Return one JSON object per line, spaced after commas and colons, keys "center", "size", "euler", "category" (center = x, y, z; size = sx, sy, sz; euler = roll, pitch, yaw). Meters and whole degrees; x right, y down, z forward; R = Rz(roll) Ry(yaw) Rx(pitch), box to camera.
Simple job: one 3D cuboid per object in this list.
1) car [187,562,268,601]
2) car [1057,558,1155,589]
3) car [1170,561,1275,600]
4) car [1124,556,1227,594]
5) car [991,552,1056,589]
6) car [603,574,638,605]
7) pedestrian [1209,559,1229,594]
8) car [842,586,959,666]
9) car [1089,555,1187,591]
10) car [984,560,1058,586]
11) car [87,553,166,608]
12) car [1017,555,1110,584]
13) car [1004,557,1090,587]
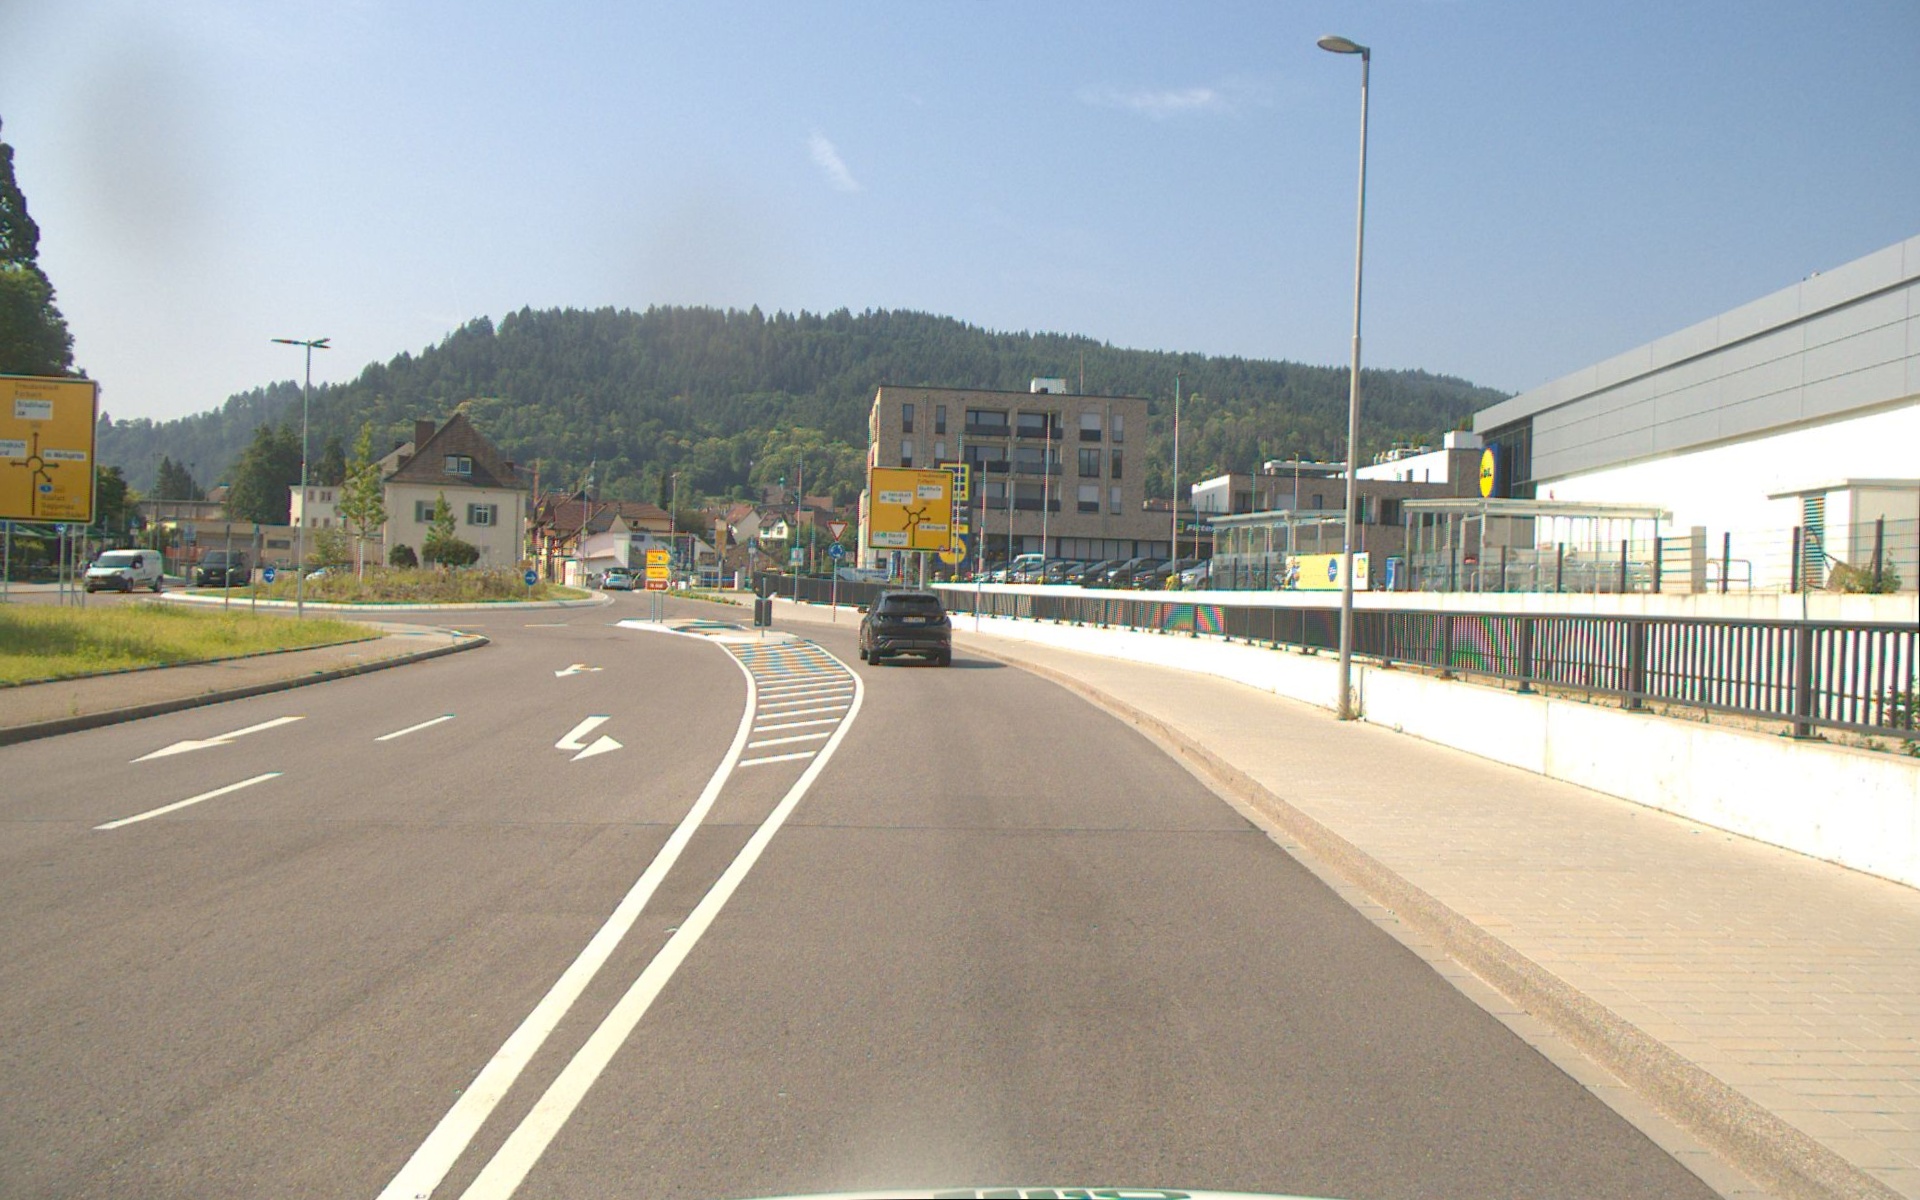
{"center": [-38.556, -0.947, 87.155], "size": [1.801, 1.980, 4.884], "euler": [1, 0, 4], "category": "car"}
{"center": [6.671, -1.229, 75.570], "size": [4.150, 1.267, 1.734], "euler": [2, 1, -20], "category": "car"}
{"center": [10.434, -0.773, 65.763], "size": [3.749, 1.388, 1.671], "euler": [2, 1, -20], "category": "car"}
{"center": [8.957, -1.053, 68.726], "size": [4.001, 1.428, 1.477], "euler": [2, 1, -20], "category": "car"}
{"center": [3.925, -1.795, 102.310], "size": [3.904, 2.173, 2.000], "euler": [1, 0, 2], "category": "car"}
{"center": [-22.884, -0.680, 111.532], "size": [1.955, 2.049, 3.994], "euler": [1, 0, -7], "category": "car"}
{"center": [10.071, -0.906, 64.266], "size": [0.538, 1.335, 0.653], "euler": [1, 0, -17], "category": "pedestrian"}
{"center": [-1.424, 0.555, 37.719], "size": [1.849, 1.713, 3.985], "euler": [1, 0, -15], "category": "car"}
{"center": [7.794, -1.182, 72.437], "size": [3.945, 1.428, 1.715], "euler": [2, 1, -20], "category": "car"}
{"center": [3.198, -1.424, 86.509], "size": [3.502, 1.220, 1.705], "euler": [2, 1, -19], "category": "car"}
{"center": [-36.363, -0.887, 72.240], "size": [1.773, 2.113, 4.595], "euler": [3, 3, -10], "category": "car"}
{"center": [5.062, -1.511, 80.950], "size": [4.215, 1.267, 1.655], "euler": [2, 1, -20], "category": "car"}
{"center": [4.357, -1.400, 82.973], "size": [3.976, 1.366, 1.651], "euler": [2, 1, -19], "category": "car"}
